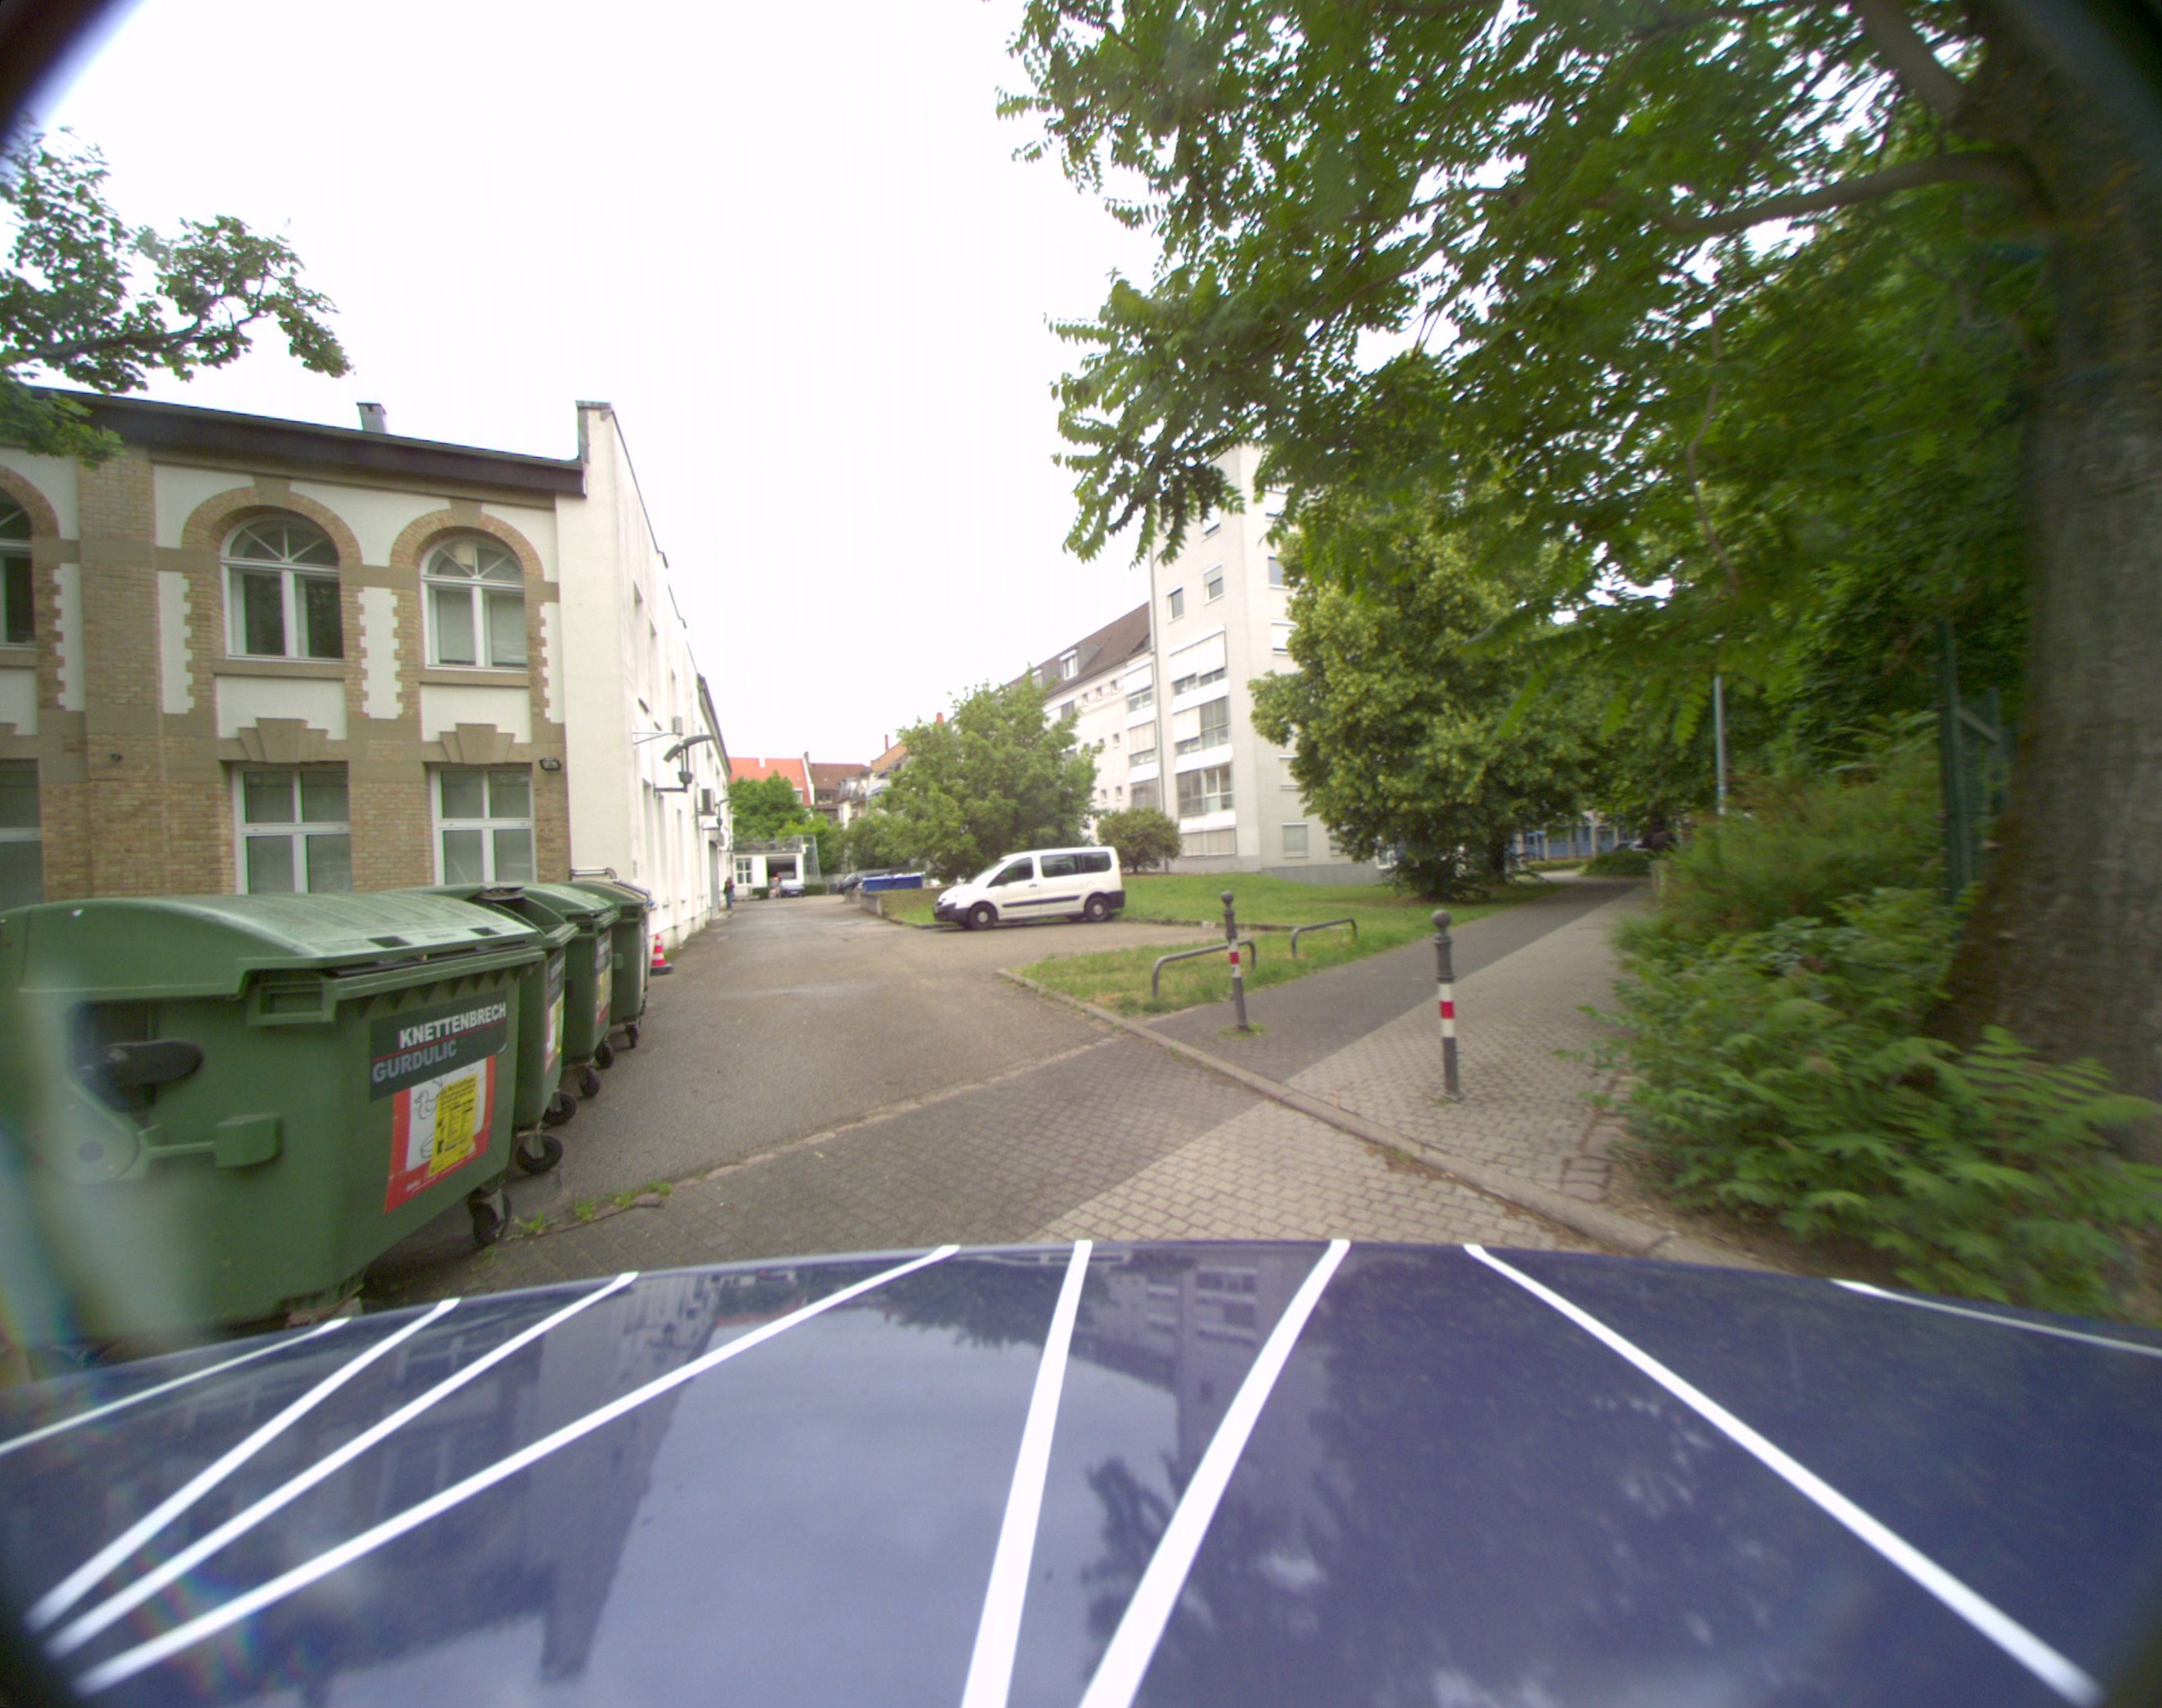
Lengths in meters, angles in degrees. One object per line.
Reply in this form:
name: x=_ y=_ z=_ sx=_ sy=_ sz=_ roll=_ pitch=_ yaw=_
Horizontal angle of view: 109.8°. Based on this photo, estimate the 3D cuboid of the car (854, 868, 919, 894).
car: x=-14.779 y=2.010 z=57.693 sx=4.347 sy=1.724 sz=1.996 roll=-2 pitch=0 yaw=-28

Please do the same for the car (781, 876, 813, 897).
car: x=-22.541 y=2.546 z=60.234 sx=1.922 sy=1.390 sz=3.992 roll=-3 pitch=0 yaw=-25

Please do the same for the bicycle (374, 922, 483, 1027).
bicycle: x=-8.453 y=1.508 z=9.919 sx=0.461 sy=1.108 sz=1.742 roll=-3 pitch=0 yaw=-20

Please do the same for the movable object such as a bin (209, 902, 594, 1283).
movable object such as a bin: x=-3.301 y=1.028 z=3.925 sx=1.110 sy=1.441 sz=1.284 roll=-3 pitch=0 yaw=-26

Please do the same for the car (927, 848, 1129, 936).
car: x=-1.383 y=0.943 z=19.626 sx=4.777 sy=1.861 sz=1.899 roll=-3 pitch=-2 yaw=-21

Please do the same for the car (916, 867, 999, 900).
car: x=-7.323 y=1.726 z=45.069 sx=4.347 sy=1.724 sz=1.996 roll=-2 pitch=0 yaw=-28

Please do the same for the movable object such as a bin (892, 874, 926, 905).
movable object such as a bin: x=-7.663 y=1.564 z=33.863 sx=1.182 sy=1.299 sz=1.226 roll=-3 pitch=-1 yaw=-24

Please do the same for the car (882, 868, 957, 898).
car: x=-10.530 y=1.853 z=49.538 sx=4.347 sy=1.724 sz=1.996 roll=-2 pitch=0 yaw=-28

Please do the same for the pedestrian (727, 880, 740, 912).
pedestrian: x=-17.349 y=2.101 z=37.886 sx=0.499 sy=1.553 sz=0.428 roll=-3 pitch=0 yaw=-27

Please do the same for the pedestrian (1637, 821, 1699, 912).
pedestrian: x=11.664 y=0.249 z=15.110 sx=0.621 sy=1.739 sz=0.680 roll=-3 pitch=0 yaw=-18

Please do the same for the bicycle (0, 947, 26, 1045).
bicycle: x=-12.454 y=1.645 z=8.110 sx=0.461 sy=1.108 sz=1.742 roll=-3 pitch=0 yaw=-20

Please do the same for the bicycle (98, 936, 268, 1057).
bicycle: x=-10.448 y=1.606 z=8.927 sx=0.461 sy=1.108 sz=1.742 roll=-3 pitch=0 yaw=-20

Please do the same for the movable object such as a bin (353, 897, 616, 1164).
movable object such as a bin: x=-3.959 y=1.069 z=5.226 sx=1.110 sy=1.441 sz=1.292 roll=-3 pitch=0 yaw=-26

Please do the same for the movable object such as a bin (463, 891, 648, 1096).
movable object such as a bin: x=-4.404 y=1.083 z=6.515 sx=1.110 sy=1.441 sz=1.324 roll=-3 pitch=0 yaw=-29

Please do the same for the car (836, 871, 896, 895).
car: x=-17.661 y=2.382 z=62.438 sx=4.347 sy=1.724 sz=1.996 roll=-2 pitch=0 yaw=-28

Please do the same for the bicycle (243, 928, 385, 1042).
bicycle: x=-9.395 y=1.552 z=9.392 sx=0.461 sy=1.108 sz=1.742 roll=-3 pitch=0 yaw=-18

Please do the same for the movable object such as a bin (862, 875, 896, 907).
movable object such as a bin: x=-8.860 y=1.616 z=33.275 sx=1.182 sy=1.299 sz=1.226 roll=-3 pitch=-1 yaw=-24

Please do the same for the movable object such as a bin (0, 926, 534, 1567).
movable object such as a bin: x=-2.737 y=1.032 z=2.485 sx=1.072 sy=1.426 sz=1.274 roll=-3 pitch=0 yaw=-13

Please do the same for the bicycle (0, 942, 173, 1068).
bicycle: x=-11.247 y=1.635 z=8.562 sx=0.461 sy=1.108 sz=1.742 roll=-3 pitch=0 yaw=-20

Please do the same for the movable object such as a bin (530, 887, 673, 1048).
movable object such as a bin: x=-4.985 y=1.106 z=8.035 sx=1.110 sy=1.441 sz=1.360 roll=-3 pitch=0 yaw=-28

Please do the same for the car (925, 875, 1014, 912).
car: x=-6.147 y=2.142 z=41.931 sx=4.347 sy=1.724 sz=1.996 roll=-2 pitch=0 yaw=-28
